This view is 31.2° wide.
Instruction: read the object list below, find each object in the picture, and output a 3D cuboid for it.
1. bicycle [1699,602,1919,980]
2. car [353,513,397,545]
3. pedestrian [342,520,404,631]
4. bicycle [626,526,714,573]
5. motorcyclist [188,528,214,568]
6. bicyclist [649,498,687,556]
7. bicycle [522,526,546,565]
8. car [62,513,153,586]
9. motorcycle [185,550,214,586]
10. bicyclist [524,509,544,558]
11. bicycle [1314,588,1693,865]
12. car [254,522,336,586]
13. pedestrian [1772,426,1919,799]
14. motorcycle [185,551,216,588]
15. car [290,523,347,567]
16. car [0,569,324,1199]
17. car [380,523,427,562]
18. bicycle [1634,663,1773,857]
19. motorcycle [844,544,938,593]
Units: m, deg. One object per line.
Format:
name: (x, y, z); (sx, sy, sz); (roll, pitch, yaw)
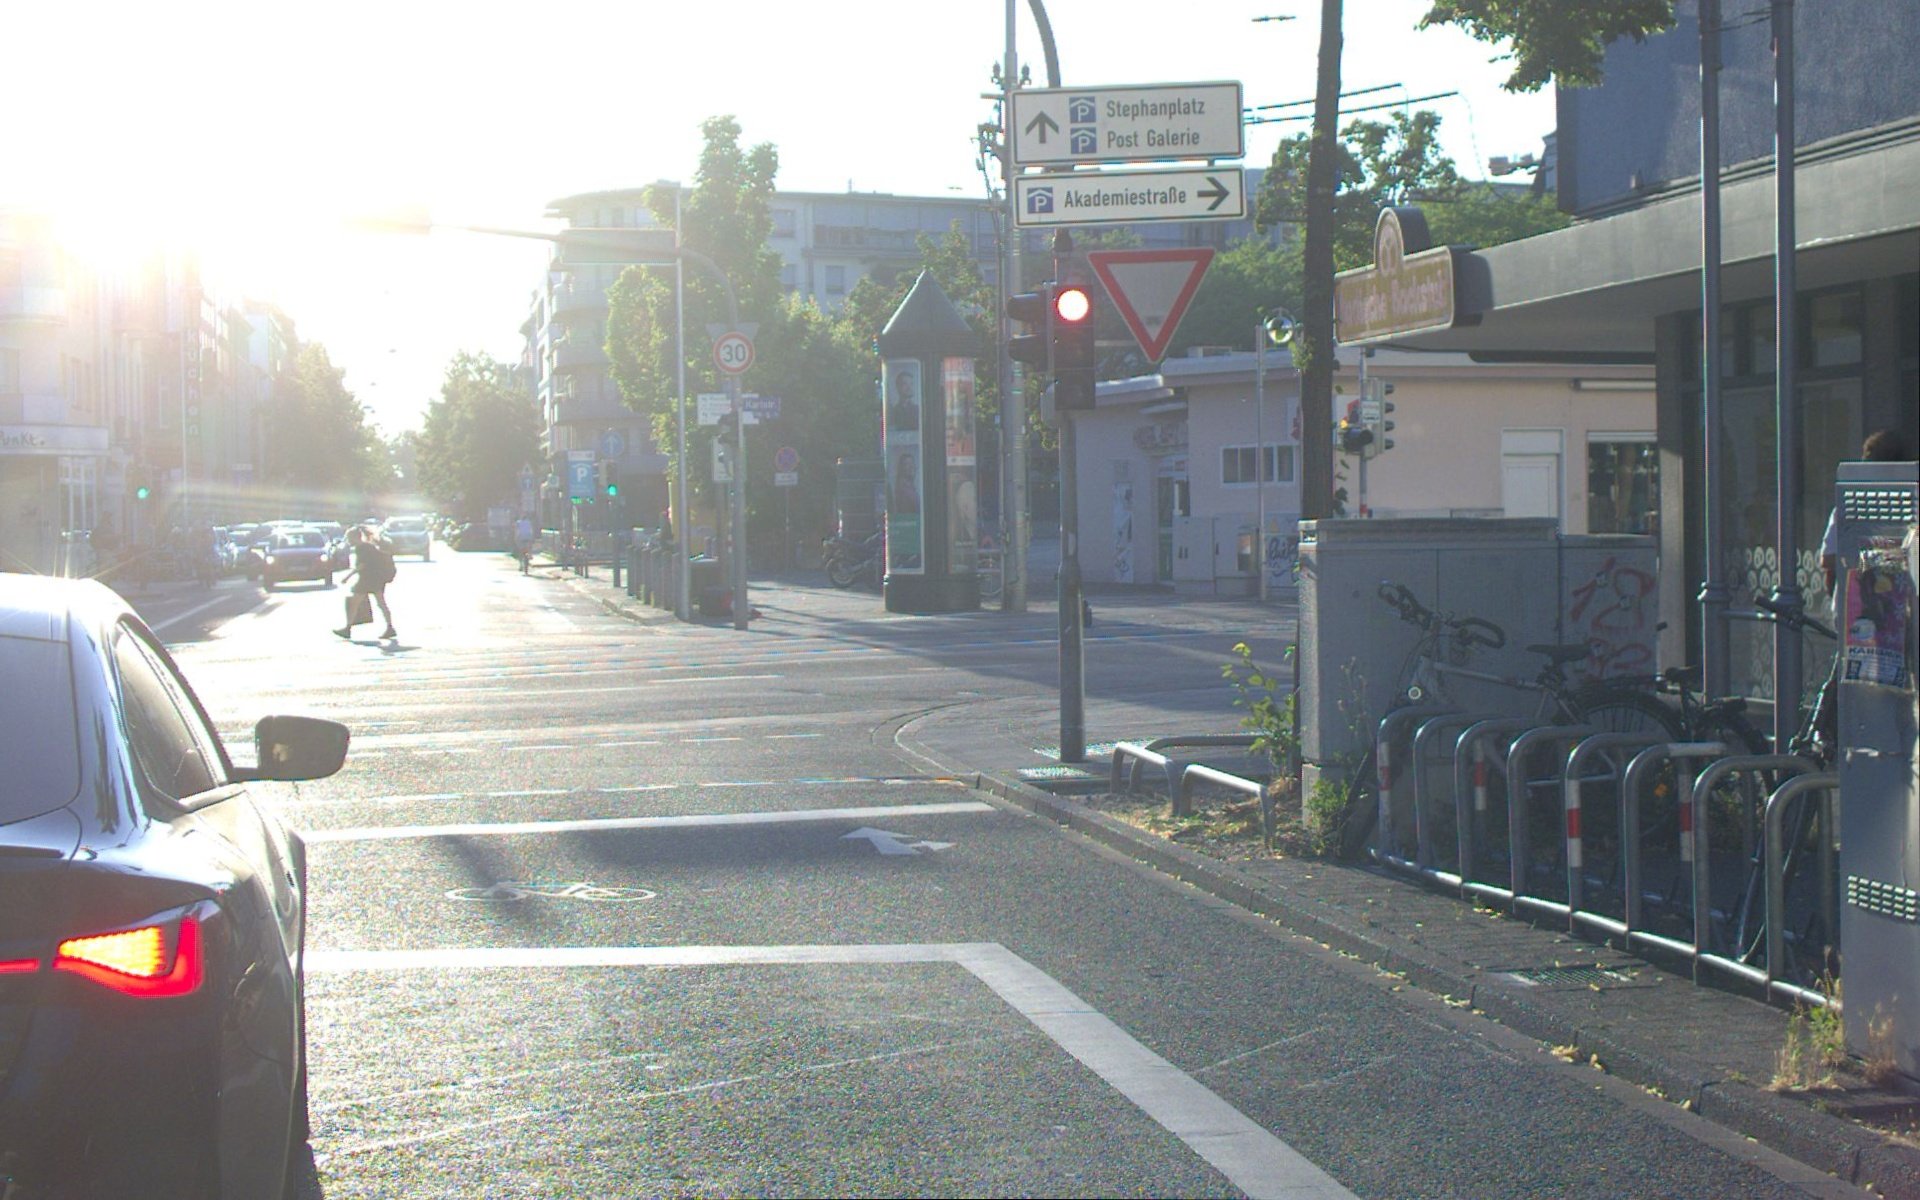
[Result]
bicycle: (3.221, 0.625, 11.391); (1.440, 1.216, 0.383); (1, 1, -7)
car: (-30.541, -3.722, 179.512); (1.993, 1.546, 4.001); (-2, 2, -7)
pedestrian: (-8.085, -0.337, 47.334); (0.732, 1.524, 0.473); (0, 1, -26)
bicycle: (-7.504, -1.311, 88.980); (2.212, 1.198, 0.620); (1, 1, 3)
motorcyclist: (-19.027, -1.295, 86.155); (0.575, 0.992, 0.703); (1, 1, -8)
bicyclist: (-7.547, -1.885, 88.966); (0.884, 1.500, 0.612); (1, 1, 3)
bicycle: (-12.971, -1.658, 104.612); (0.550, 1.155, 2.145); (0, 1, -11)
car: (-21.582, -1.301, 87.110); (1.817, 1.782, 4.001); (-1, 2, -8)
motorcycle: (-19.837, -0.840, 89.664); (0.575, 0.912, 2.201); (1, 1, -8)
bicyclist: (-12.962, -2.022, 104.570); (0.550, 1.476, 0.723); (0, 0, -11)
bicycle: (2.395, 0.548, 15.166); (1.612, 1.167, 0.318); (-1, 1, -6)
car: (-16.534, -1.157, 85.606); (1.817, 1.514, 4.001); (-1, 2, -8)
pedestrian: (4.640, 0.050, 17.363); (0.835, 1.835, 0.679); (-1, 1, -8)
motorcycle: (-19.059, -0.768, 86.282); (0.575, 0.912, 2.201); (1, 1, -8)
car: (-22.983, -1.996, 123.226); (1.817, 1.514, 4.001); (-1, 2, -8)
car: (-2.119, 0.676, 6.505); (1.736, 1.424, 4.225); (0, 1, -10)
car: (-22.745, -2.356, 140.584); (1.817, 1.514, 4.001); (-1, 2, -8)
bicycle: (3.329, 0.704, 15.448); (0.249, 0.793, 1.116); (1, 1, -7)
motorcycle: (-1.366, -0.630, 67.895); (1.668, 0.935, 0.856); (-1, 2, -19)
